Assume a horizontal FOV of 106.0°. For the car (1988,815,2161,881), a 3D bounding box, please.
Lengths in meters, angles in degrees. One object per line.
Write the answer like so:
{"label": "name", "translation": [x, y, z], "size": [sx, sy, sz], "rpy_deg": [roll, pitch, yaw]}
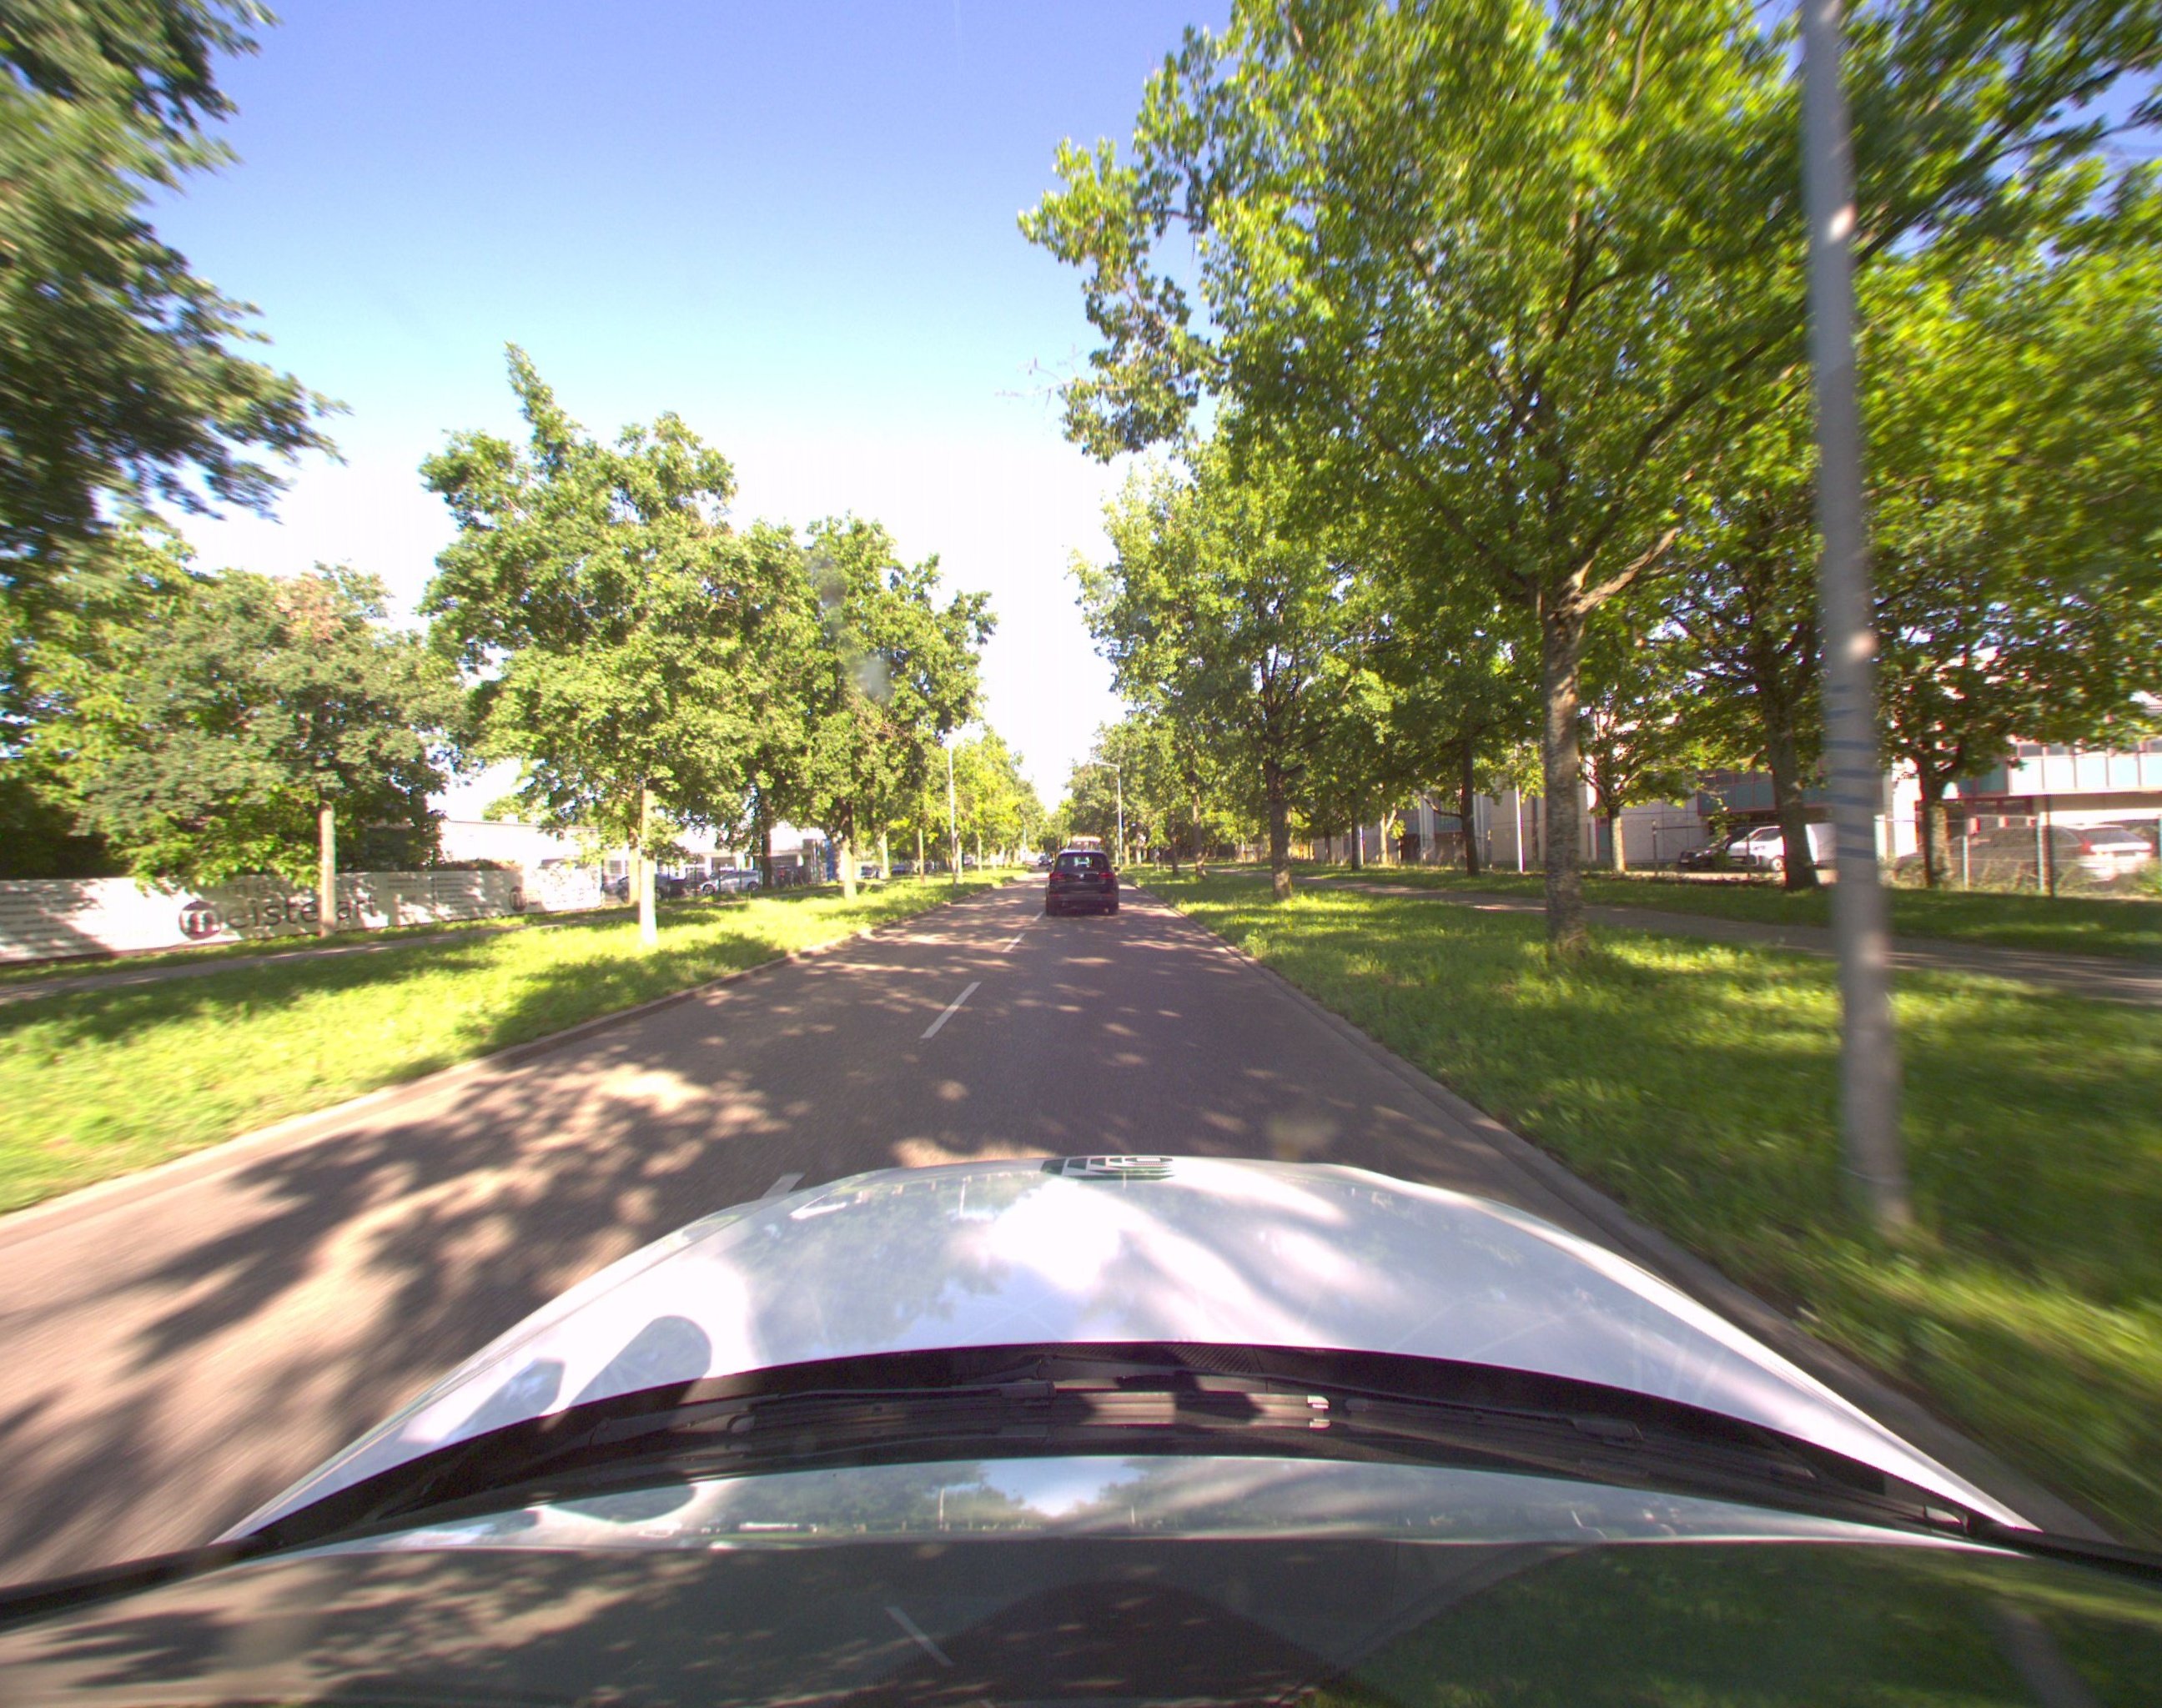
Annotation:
{"label": "car", "translation": [26.204, -0.172, 20.379], "size": [1.988, 1.559, 4.453], "rpy_deg": [-2, 0, -2]}

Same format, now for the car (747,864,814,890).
{"label": "car", "translation": [-21.220, 1.606, 57.648], "size": [3.972, 1.742, 2.001], "rpy_deg": [0, -1, 1]}

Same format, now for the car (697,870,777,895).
{"label": "car", "translation": [-21.773, 1.781, 51.651], "size": [4.296, 1.518, 1.862], "rpy_deg": [0, -1, 0]}

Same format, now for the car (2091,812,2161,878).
{"label": "car", "translation": [28.633, -0.266, 20.028], "size": [1.988, 1.673, 4.453], "rpy_deg": [-2, 0, -2]}

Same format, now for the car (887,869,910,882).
{"label": "car", "translation": [-23.097, 2.671, 103.060], "size": [1.989, 1.598, 5.009], "rpy_deg": [0, -1, -3]}

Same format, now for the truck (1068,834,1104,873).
{"label": "truck", "translation": [0.336, -0.023, 72.458], "size": [2.507, 3.244, 8.140], "rpy_deg": [-2, 0, -4]}

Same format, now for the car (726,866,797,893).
{"label": "car", "translation": [-21.433, 1.673, 54.742], "size": [3.973, 1.746, 1.862], "rpy_deg": [0, -1, 0]}

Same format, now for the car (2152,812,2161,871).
{"label": "car", "translation": [31.559, -0.370, 20.982], "size": [1.990, 1.673, 4.448], "rpy_deg": [0, -1, -5]}

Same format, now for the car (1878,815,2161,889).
{"label": "car", "translation": [23.563, -0.024, 20.653], "size": [1.988, 1.606, 4.713], "rpy_deg": [-2, -1, -1]}

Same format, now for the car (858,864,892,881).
{"label": "car", "translation": [-18.652, 1.692, 73.819], "size": [2.548, 1.470, 1.431], "rpy_deg": [-2, 0, 14]}

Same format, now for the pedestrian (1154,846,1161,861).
{"label": "pedestrian", "translation": [8.780, -0.078, 93.481], "size": [0.608, 1.631, 0.716], "rpy_deg": [-4, 0, -12]}

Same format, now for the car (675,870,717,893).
{"label": "car", "translation": [-30.221, 2.117, 64.040], "size": [1.996, 1.689, 5.234], "rpy_deg": [0, -1, -14]}

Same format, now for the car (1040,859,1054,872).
{"label": "car", "translation": [-4.825, 1.667, 116.179], "size": [1.763, 1.672, 4.196], "rpy_deg": [-3, -1, -2]}

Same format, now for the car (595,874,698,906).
{"label": "car", "translation": [-21.889, 1.800, 41.184], "size": [3.973, 1.518, 2.198], "rpy_deg": [0, -1, 0]}

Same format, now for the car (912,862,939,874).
{"label": "car", "translation": [-23.328, 2.144, 122.346], "size": [3.987, 1.802, 1.993], "rpy_deg": [0, -1, -10]}

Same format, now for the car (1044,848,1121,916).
{"label": "car", "translation": [-0.057, 0.685, 21.689], "size": [1.779, 1.633, 3.994], "rpy_deg": [0, -1, -4]}

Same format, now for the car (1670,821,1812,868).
{"label": "car", "translation": [29.764, -0.409, 36.816], "size": [4.939, 1.884, 1.996], "rpy_deg": [-2, 0, -5]}

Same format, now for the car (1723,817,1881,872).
{"label": "car", "translation": [29.694, -0.398, 33.610], "size": [5.054, 1.959, 1.892], "rpy_deg": [-3, 0, -5]}
